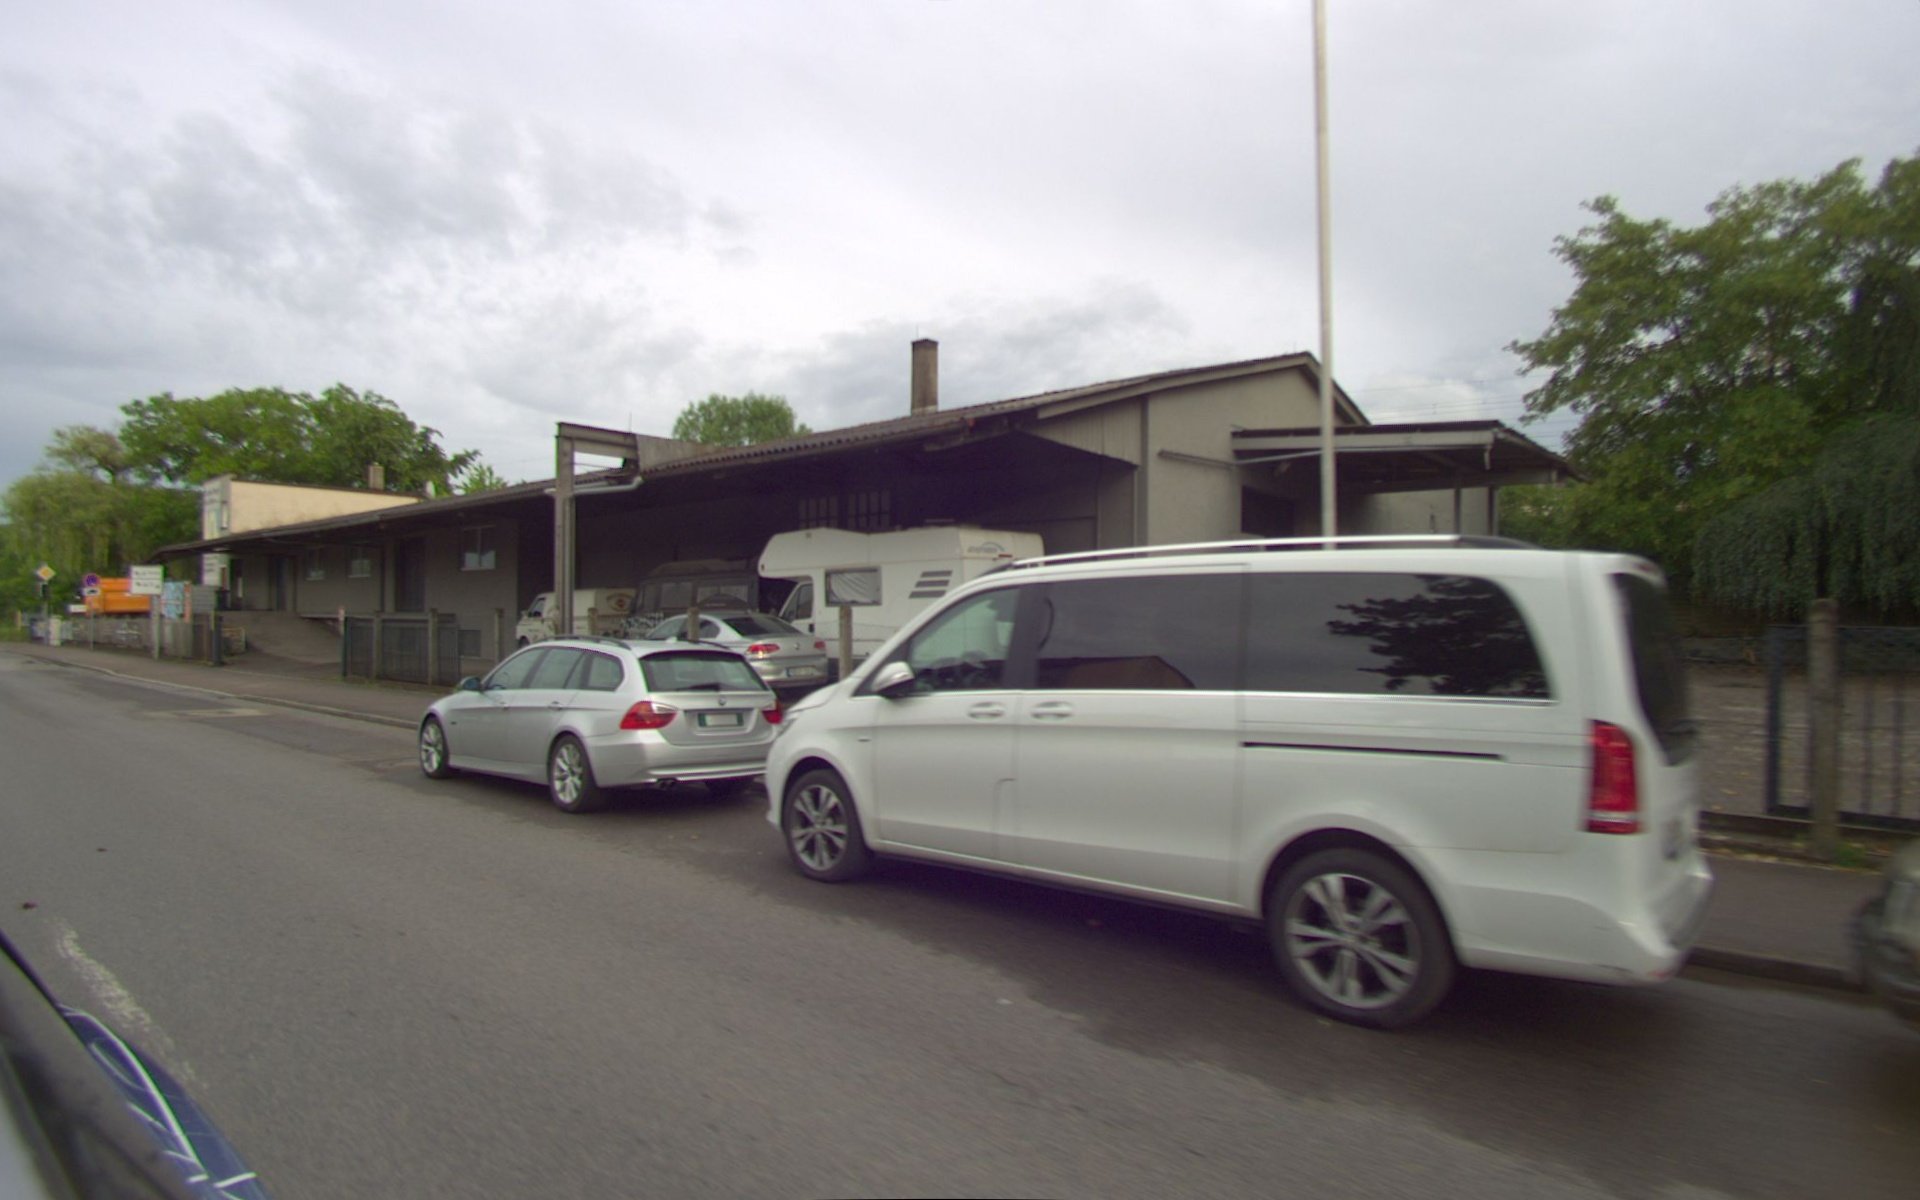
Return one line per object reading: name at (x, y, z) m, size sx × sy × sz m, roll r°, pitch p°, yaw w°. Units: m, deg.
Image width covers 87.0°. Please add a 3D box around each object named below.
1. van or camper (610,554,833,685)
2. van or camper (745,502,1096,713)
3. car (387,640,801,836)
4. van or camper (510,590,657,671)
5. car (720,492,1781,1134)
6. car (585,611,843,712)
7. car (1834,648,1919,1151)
van or camper at (-5.245, 0.398, 21.816) m, size 5.194 × 2.509 × 1.973 m, roll -1°, pitch 0°, yaw 41°
van or camper at (-0.884, 0.134, 17.523) m, size 6.147 × 3.058 × 2.280 m, roll -1°, pitch 0°, yaw 41°
car at (-3.652, 1.100, 9.586) m, size 4.705 × 1.375 × 1.621 m, roll -1°, pitch -3°, yaw 42°
van or camper at (-10.017, 0.766, 26.769) m, size 4.374 × 1.950 × 1.901 m, roll -1°, pitch 0°, yaw 43°
car at (1.028, 0.696, 5.473) m, size 5.208 × 1.906 × 1.873 m, roll -1°, pitch -3°, yaw 42°
car at (-4.289, 0.947, 17.186) m, size 4.785 × 1.451 × 1.810 m, roll -1°, pitch 0°, yaw 41°
car at (5.082, 0.860, 2.053) m, size 4.979 × 1.438 × 1.797 m, roll -1°, pitch -3°, yaw 42°
